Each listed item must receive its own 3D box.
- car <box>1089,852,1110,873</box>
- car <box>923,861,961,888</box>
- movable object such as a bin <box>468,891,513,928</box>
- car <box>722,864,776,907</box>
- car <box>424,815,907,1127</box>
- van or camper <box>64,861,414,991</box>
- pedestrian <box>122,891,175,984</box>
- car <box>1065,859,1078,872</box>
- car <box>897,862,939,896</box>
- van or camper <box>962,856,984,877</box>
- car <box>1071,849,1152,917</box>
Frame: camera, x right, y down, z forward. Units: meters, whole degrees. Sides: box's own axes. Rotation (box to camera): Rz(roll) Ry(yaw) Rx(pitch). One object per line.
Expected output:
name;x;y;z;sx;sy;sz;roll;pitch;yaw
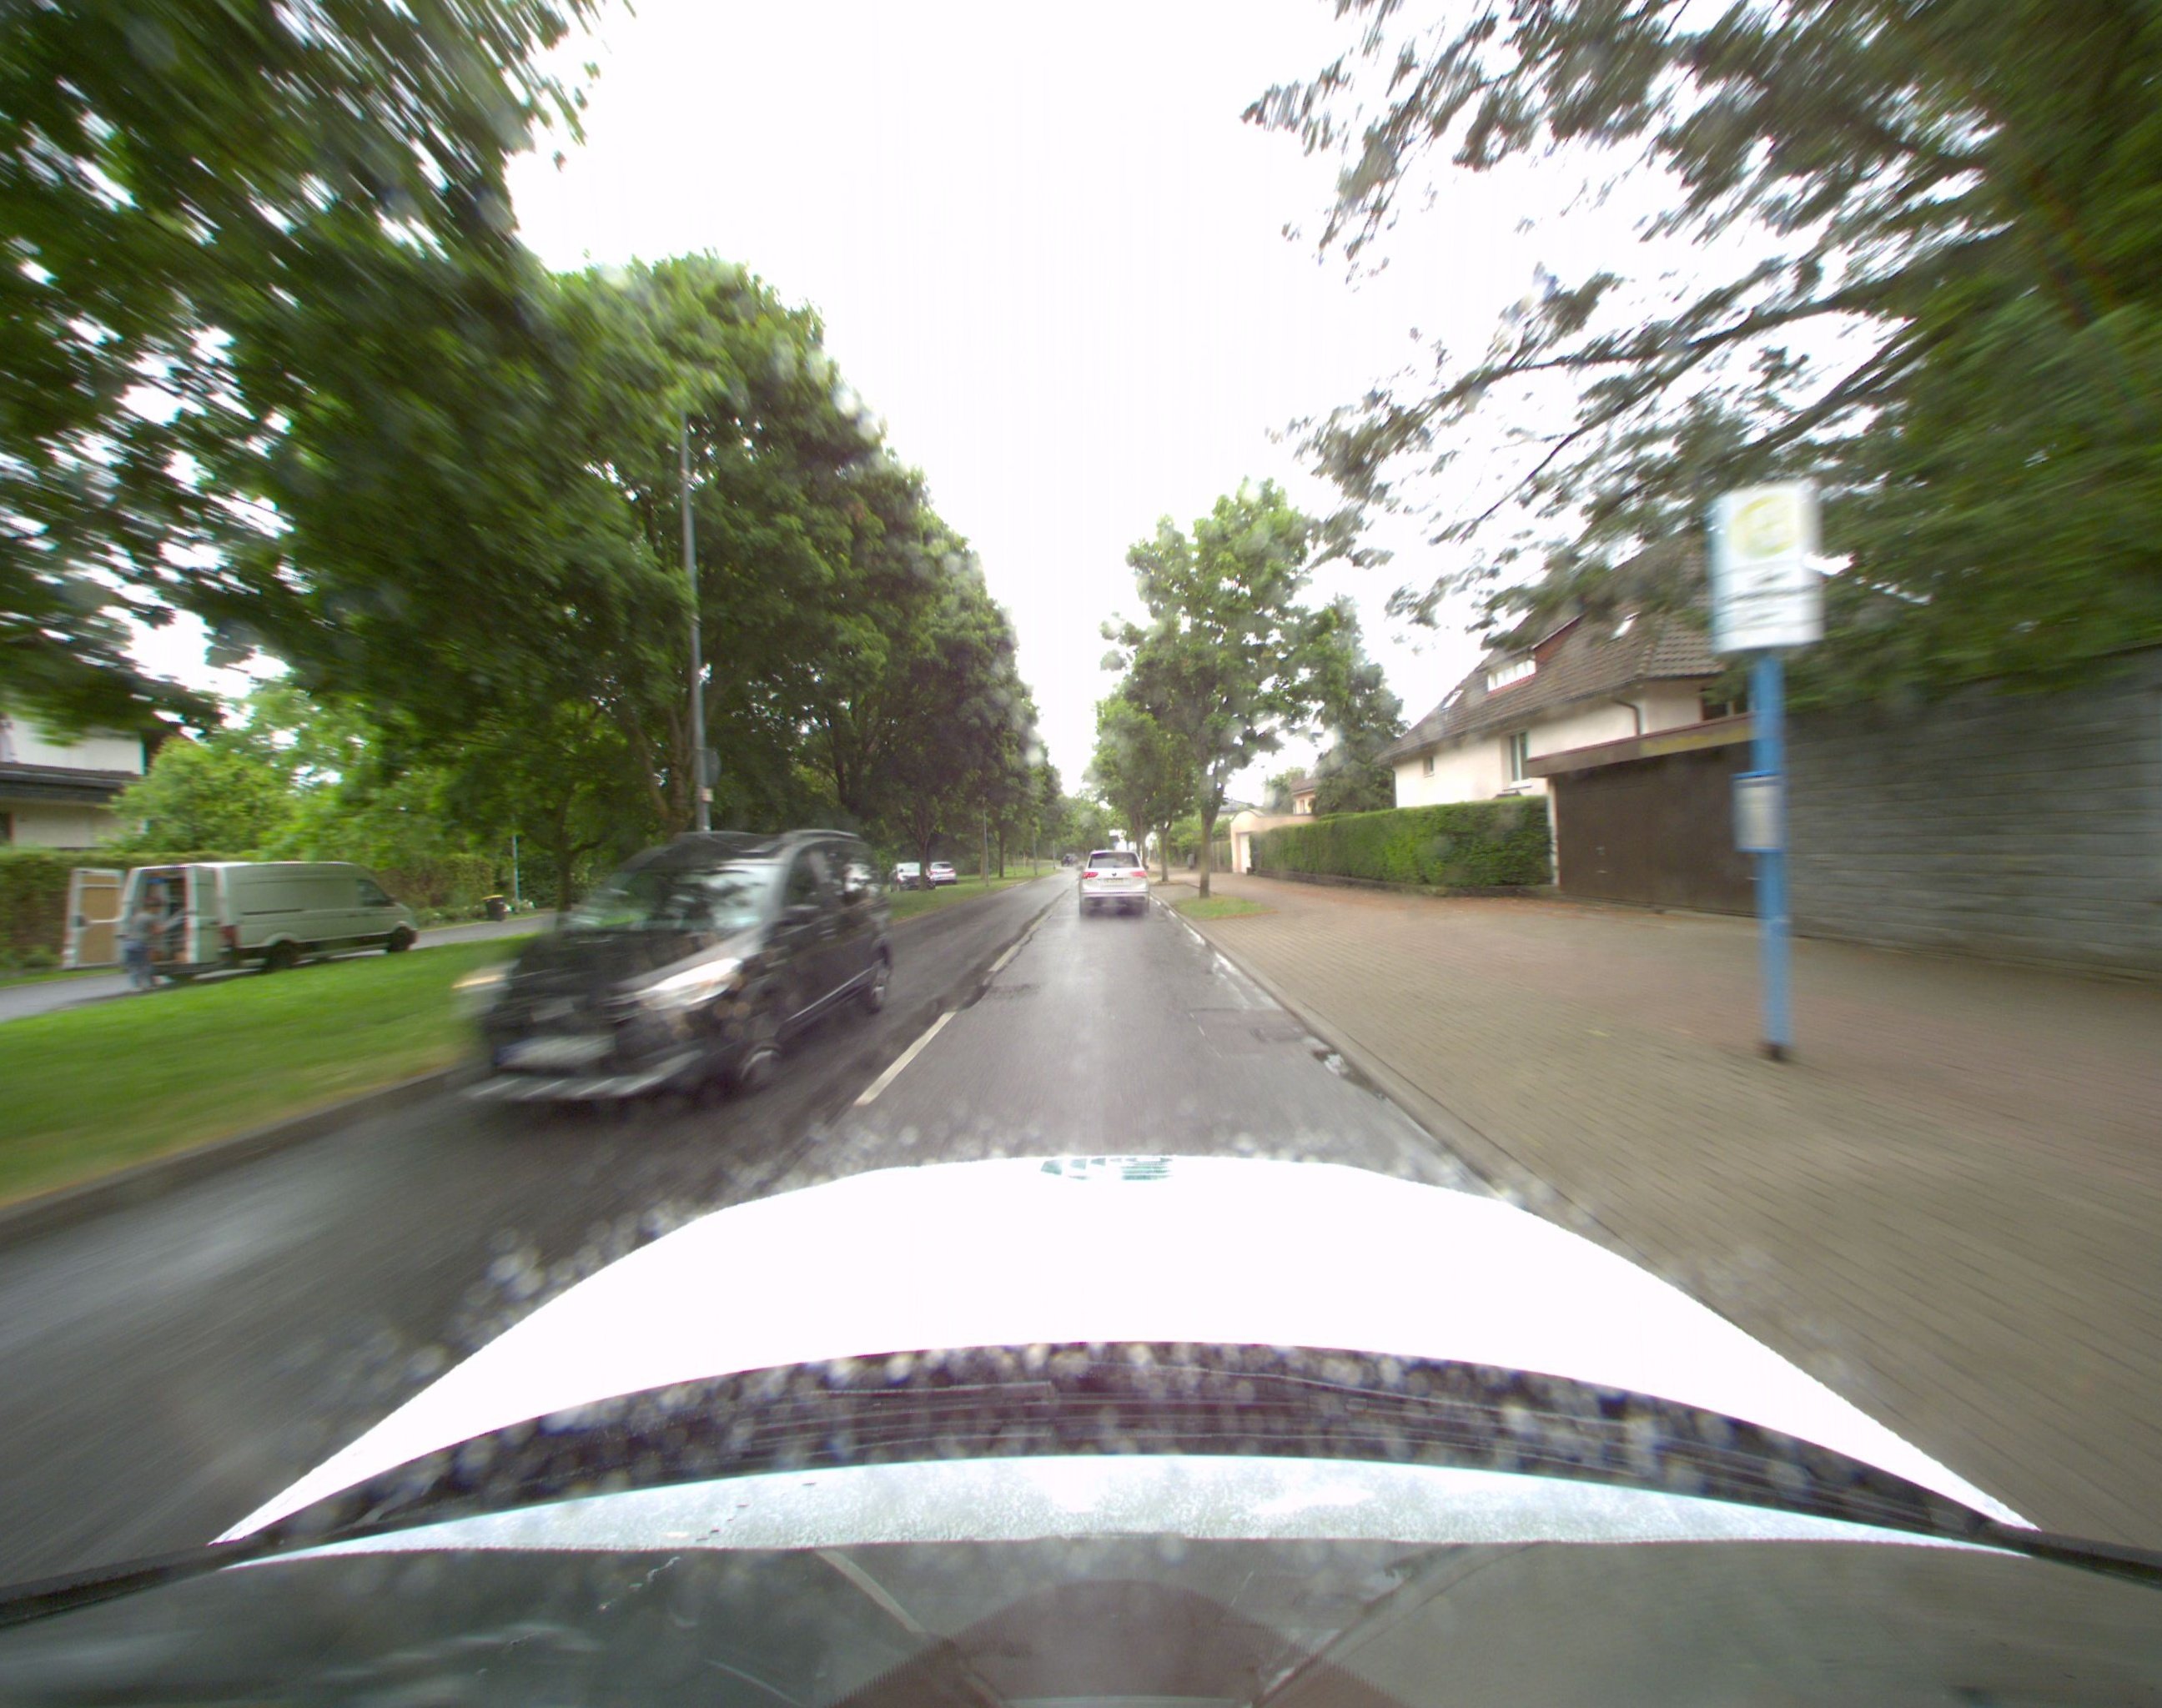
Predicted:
car;1.878;0.866;81.957;1.893;2.014;3.947;-1;-1;3
car;-8.942;1.280;52.037;1.885;1.429;4.194;-3;2;-16
movable object such as a bin;-25.240;2.353;34.834;1.082;1.467;1.166;-1;-1;-7
car;-15.421;1.510;38.026;1.909;1.770;4.867;-3;-2;-18
car;-2.918;0.696;6.962;1.770;1.773;4.287;-2;0;1
van or camper;-18.655;1.397;18.706;2.088;2.335;6.139;-3;0;-7
pedestrian;-18.573;1.655;16.219;0.484;1.782;0.399;-3;0;-8
car;-1.458;1.722;123.934;1.897;2.014;3.939;-1;-1;-4
car;-8.139;1.219;40.629;1.890;1.514;4.232;-2;0;-12
van or camper;-13.421;1.520;101.308;2.382;2.360;6.796;-4;0;-6
car;0.832;0.720;22.301;1.966;1.653;4.179;-1;0;2
